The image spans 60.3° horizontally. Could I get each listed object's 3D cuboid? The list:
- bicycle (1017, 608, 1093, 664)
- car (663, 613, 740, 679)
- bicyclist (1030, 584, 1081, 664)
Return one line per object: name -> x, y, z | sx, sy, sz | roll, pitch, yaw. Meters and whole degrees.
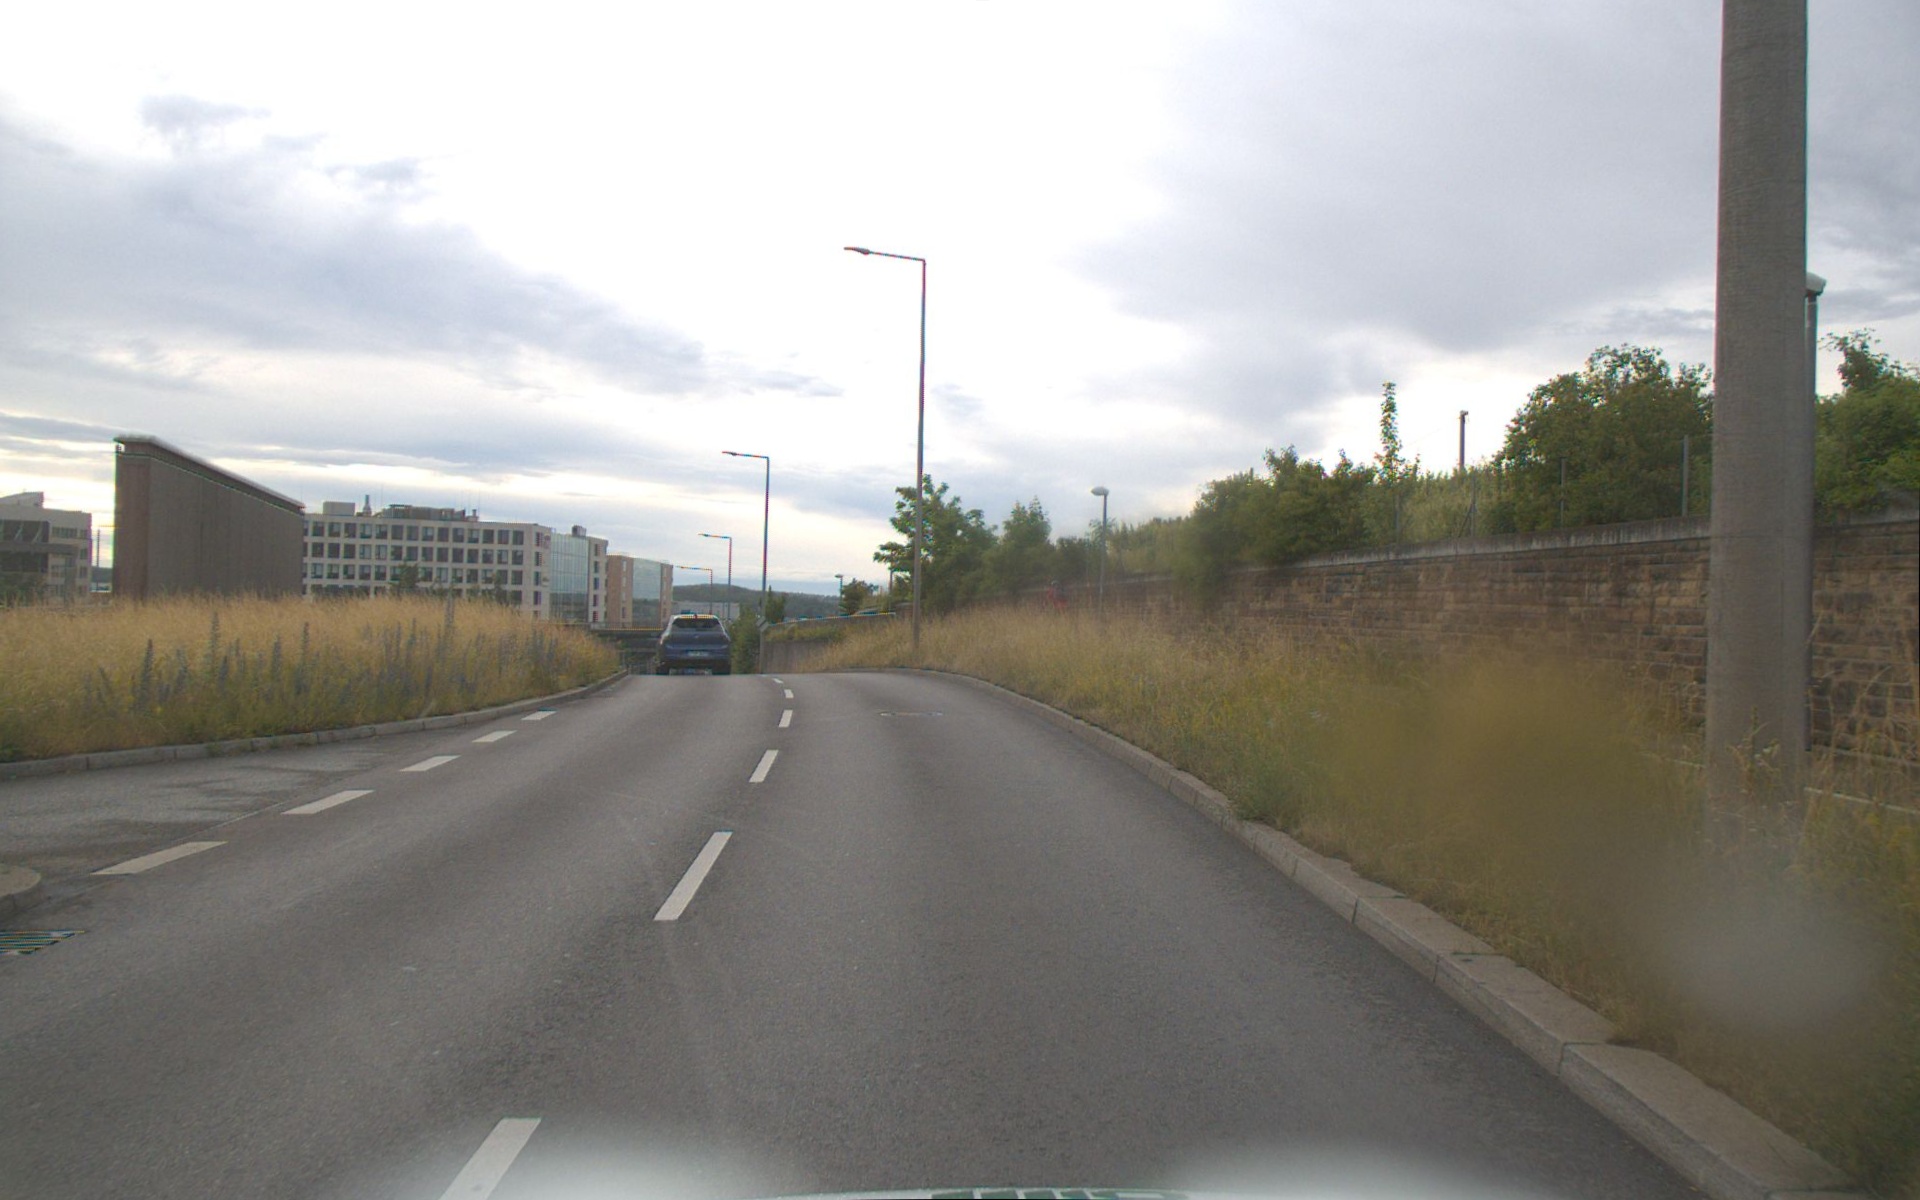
bicycle -> 2.357, 0.902, 41.646 | 0.854, 1.311, 3.474 | 4, -2, -14
car -> -6.424, 1.108, 40.994 | 1.717, 1.445, 3.470 | 3, -1, -10
bicyclist -> 2.389, 0.605, 41.573 | 0.854, 1.942, 1.289 | 4, -2, -14
